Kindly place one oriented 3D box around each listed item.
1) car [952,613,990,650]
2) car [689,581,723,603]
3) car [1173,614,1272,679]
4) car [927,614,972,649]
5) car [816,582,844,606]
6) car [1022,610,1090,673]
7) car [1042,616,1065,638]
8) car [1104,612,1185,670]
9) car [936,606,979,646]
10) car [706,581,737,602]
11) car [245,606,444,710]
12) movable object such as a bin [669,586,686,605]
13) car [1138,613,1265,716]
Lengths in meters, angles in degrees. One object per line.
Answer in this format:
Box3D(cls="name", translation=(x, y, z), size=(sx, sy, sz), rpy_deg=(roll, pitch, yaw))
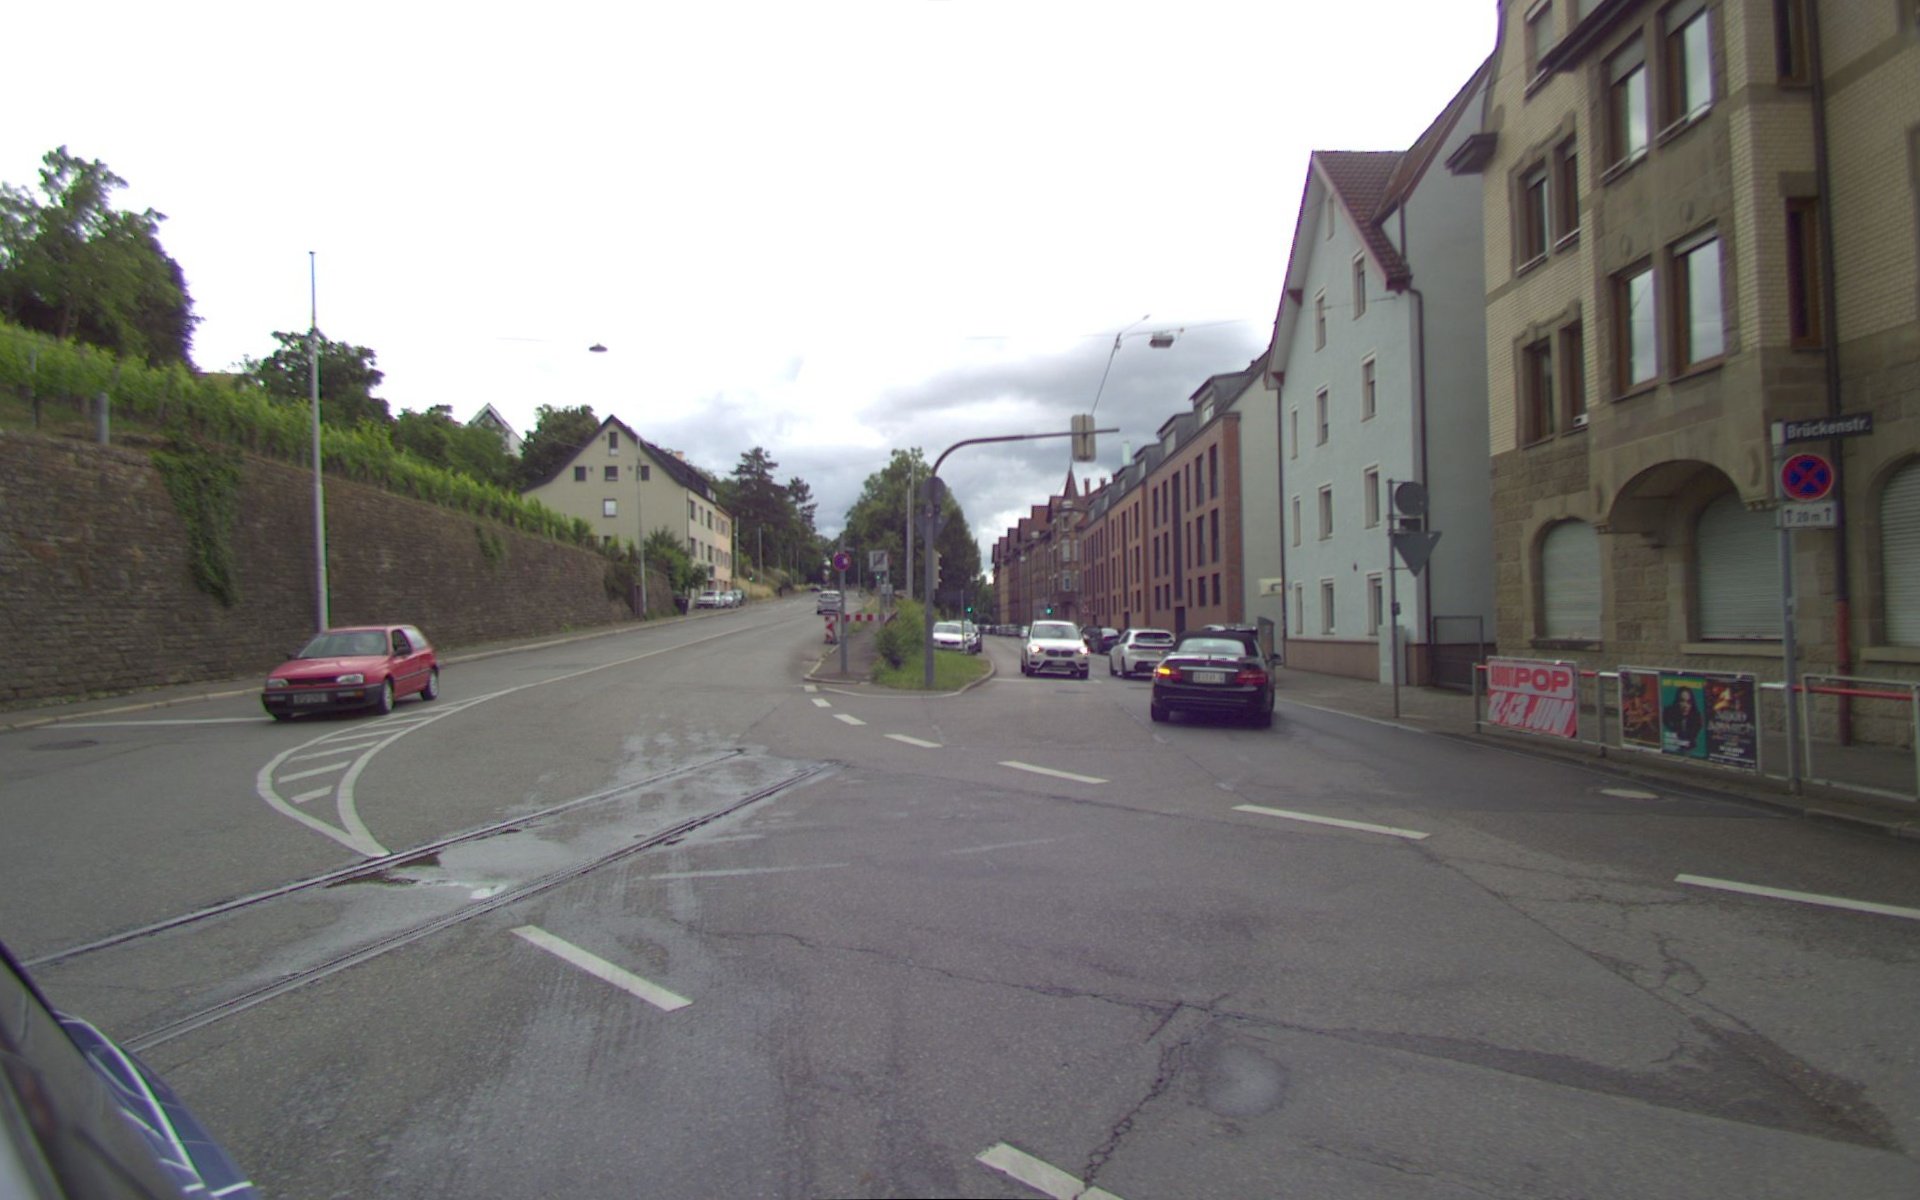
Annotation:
Box3D(cls="car", translation=(0.573, 1.664, 54.310), size=(1.972, 1.852, 4.000), rpy_deg=(0, -1, 0))
Box3D(cls="car", translation=(-20.124, -0.671, 80.260), size=(1.774, 1.586, 4.058), rpy_deg=(-2, 2, -2))
Box3D(cls="car", translation=(7.500, 1.284, 29.338), size=(1.664, 1.567, 4.234), rpy_deg=(-2, 1, -1))
Box3D(cls="car", translation=(-0.405, 1.328, 44.024), size=(1.852, 1.453, 3.998), rpy_deg=(0, -1, 1))
Box3D(cls="car", translation=(-8.361, -0.377, 65.278), size=(1.650, 1.479, 3.647), rpy_deg=(1, -1, -5))
Box3D(cls="car", translation=(2.767, 1.166, 30.027), size=(1.810, 1.525, 4.419), rpy_deg=(-2, 1, 3))
Box3D(cls="car", translation=(7.910, 2.257, 85.755), size=(1.794, 1.807, 3.839), rpy_deg=(0, -1, 4))
Box3D(cls="car", translation=(5.358, 1.146, 29.844), size=(1.663, 1.477, 3.918), rpy_deg=(-1, 1, 0))
Box3D(cls="car", translation=(-0.067, 1.220, 48.758), size=(1.973, 1.852, 3.998), rpy_deg=(0, -1, 1))
Box3D(cls="car", translation=(-20.078, -0.761, 85.403), size=(1.708, 1.586, 4.251), rpy_deg=(-2, 2, -2))
Box3D(cls="car", translation=(-10.250, 0.878, 17.189), size=(1.620, 1.449, 4.010), rpy_deg=(-1, 1, -12))
Box3D(cls="movable object such as a bin", translation=(-17.848, -0.293, 63.926), size=(0.799, 1.135, 0.875), rpy_deg=(-1, 1, -2))
Box3D(cls="car", translation=(4.002, 0.945, 16.384), size=(1.752, 1.420, 4.375), rpy_deg=(0, -1, 16))
